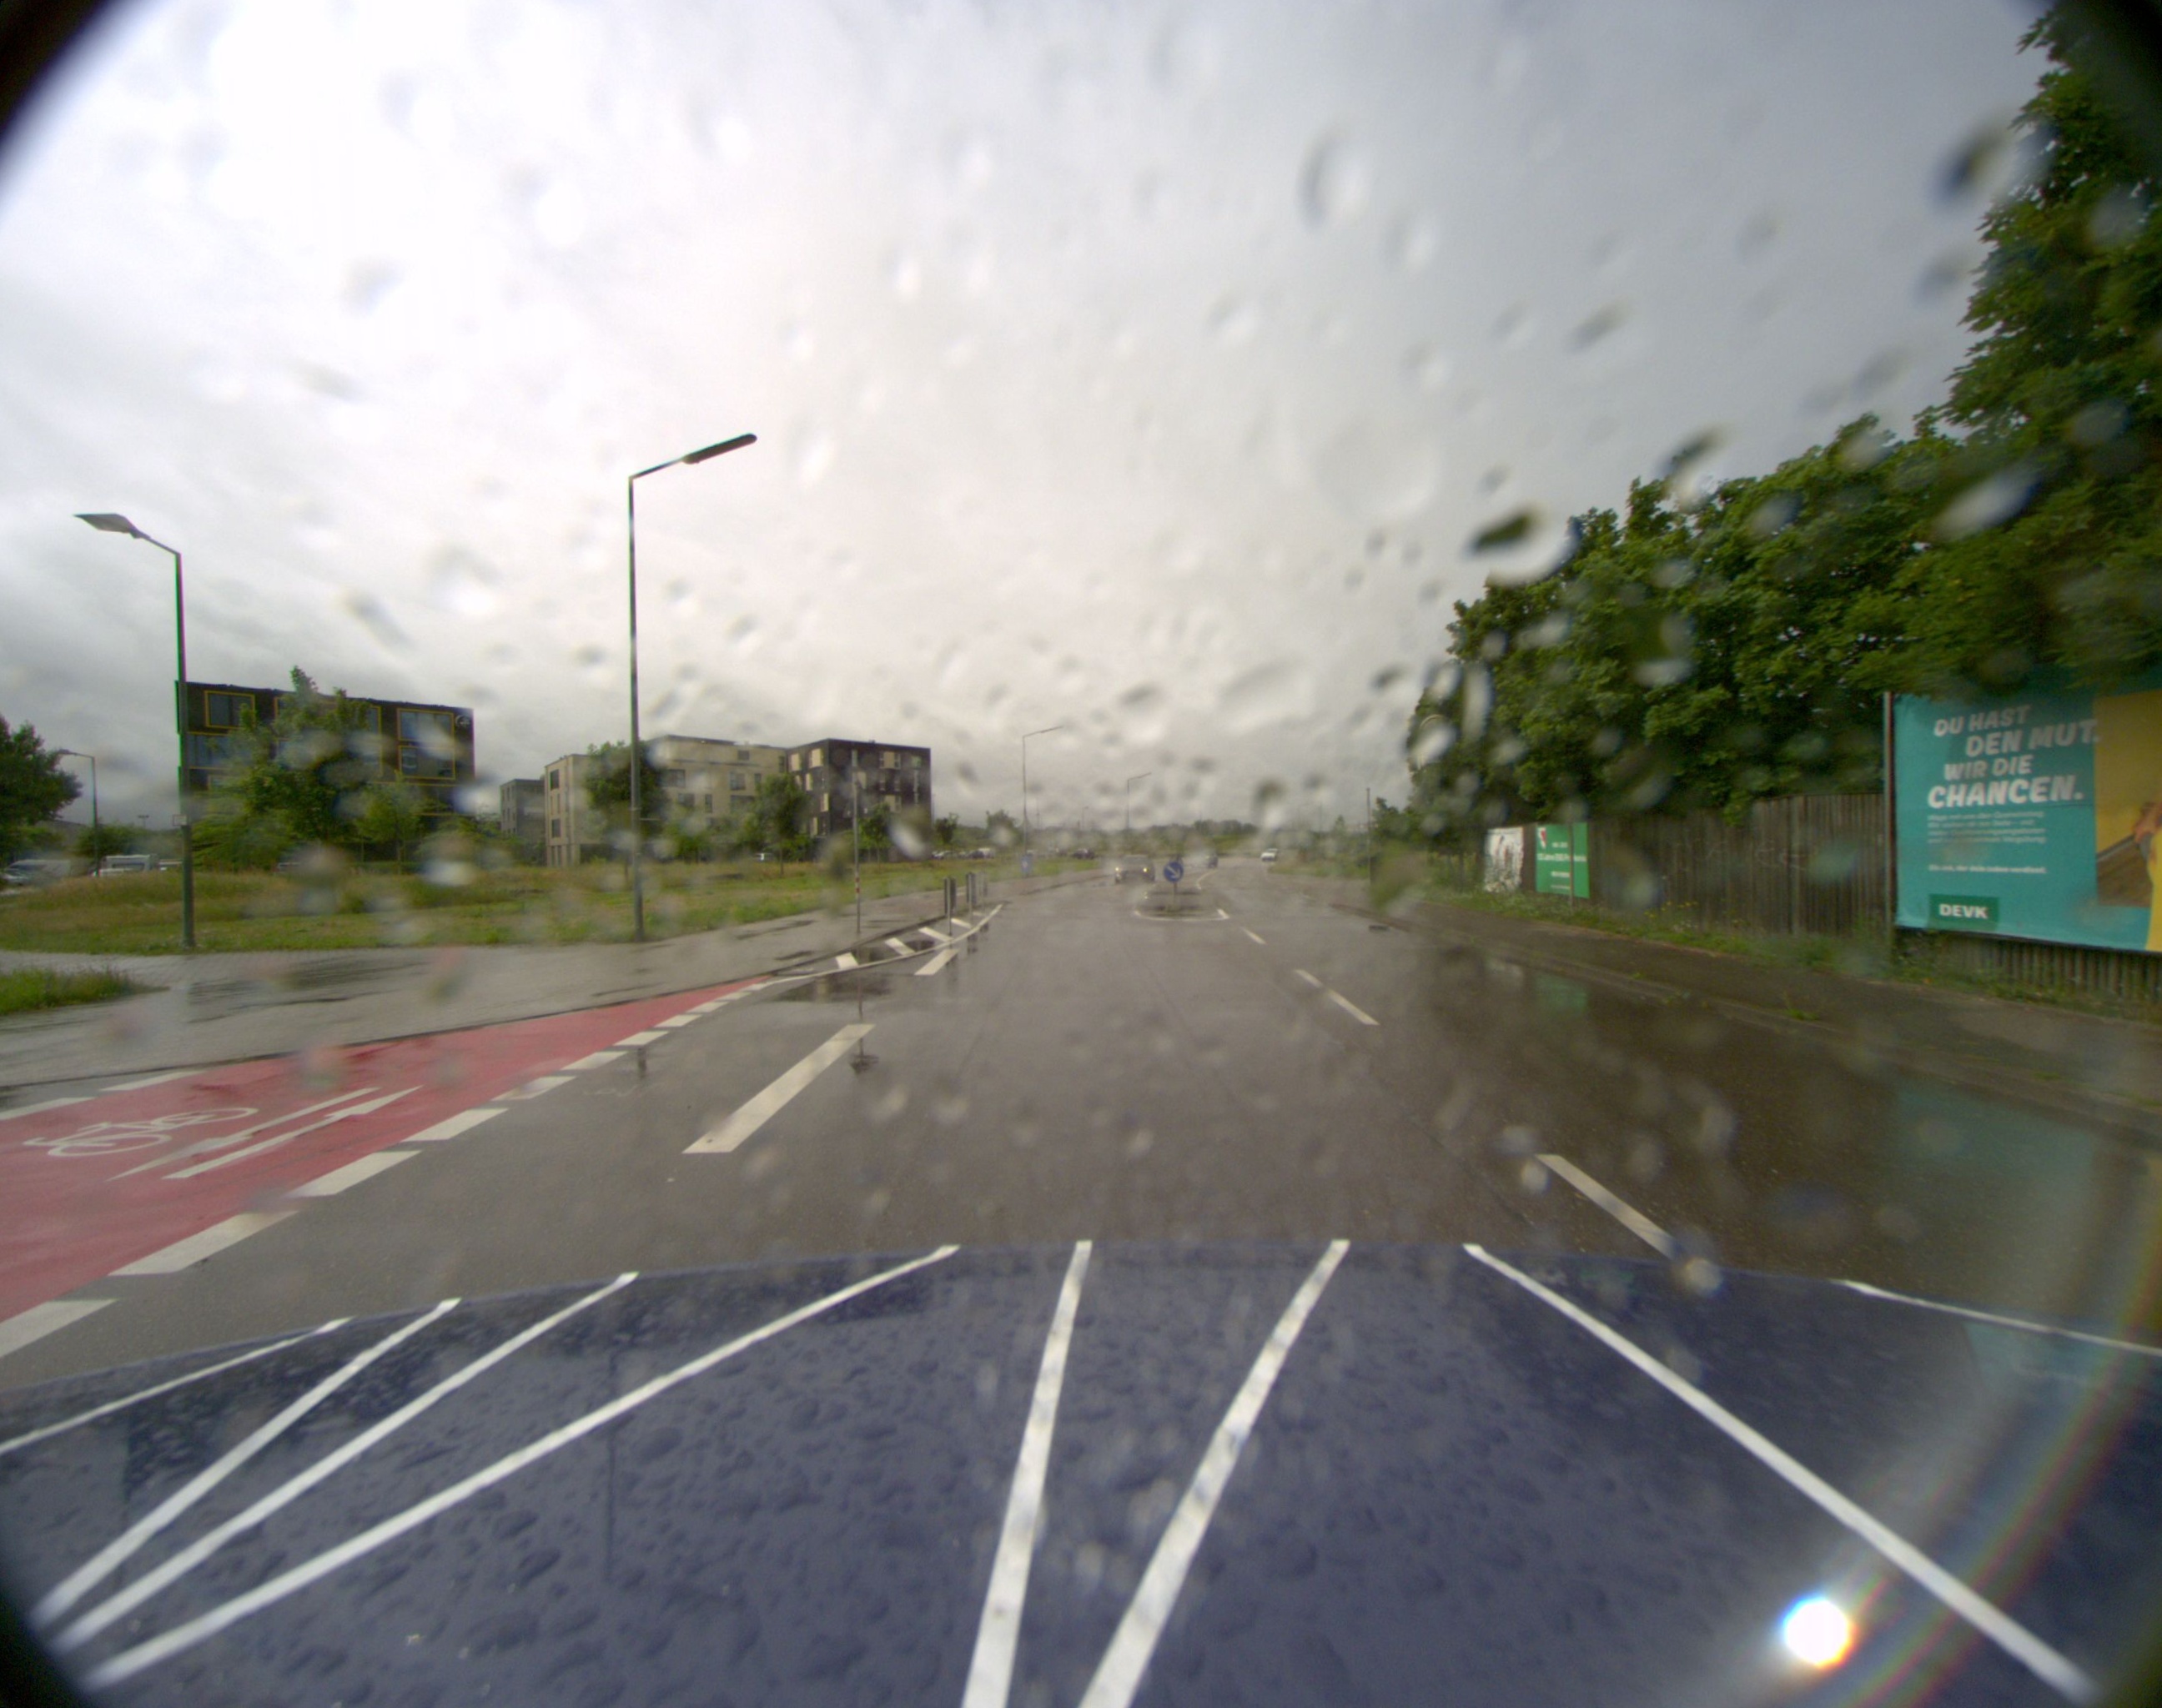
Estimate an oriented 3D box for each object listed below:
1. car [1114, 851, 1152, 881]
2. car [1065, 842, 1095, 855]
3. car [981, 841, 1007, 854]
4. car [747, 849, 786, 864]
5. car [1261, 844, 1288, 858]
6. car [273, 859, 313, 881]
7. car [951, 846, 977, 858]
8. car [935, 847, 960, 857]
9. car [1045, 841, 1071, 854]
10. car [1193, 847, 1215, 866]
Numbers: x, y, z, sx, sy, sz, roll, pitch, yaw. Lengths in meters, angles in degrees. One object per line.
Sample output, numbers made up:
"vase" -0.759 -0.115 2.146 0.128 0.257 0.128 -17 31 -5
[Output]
"car" 2.816 0.612 40.285 1.722 1.423 3.820 -1 1 8
"car" -0.174 -0.765 104.310 3.807 1.624 1.802 -1 1 42
"car" -15.177 -1.136 132.960 4.007 2.002 1.994 -2 1 -41
"car" -33.516 0.260 81.020 1.644 1.574 3.674 -1 1 26
"car" 25.386 -0.411 99.874 1.793 1.624 3.826 -1 1 43
"car" -58.850 1.197 56.721 3.658 1.574 1.652 -1 1 38
"car" -18.131 -0.326 117.718 3.656 1.652 1.646 -2 1 -34
"car" -21.706 -0.338 124.034 3.656 1.602 1.596 -2 1 -38
"car" -3.668 -1.019 121.563 3.988 2.002 2.004 -1 1 45
"car" 11.612 0.202 71.589 1.645 1.624 3.672 -1 1 16
